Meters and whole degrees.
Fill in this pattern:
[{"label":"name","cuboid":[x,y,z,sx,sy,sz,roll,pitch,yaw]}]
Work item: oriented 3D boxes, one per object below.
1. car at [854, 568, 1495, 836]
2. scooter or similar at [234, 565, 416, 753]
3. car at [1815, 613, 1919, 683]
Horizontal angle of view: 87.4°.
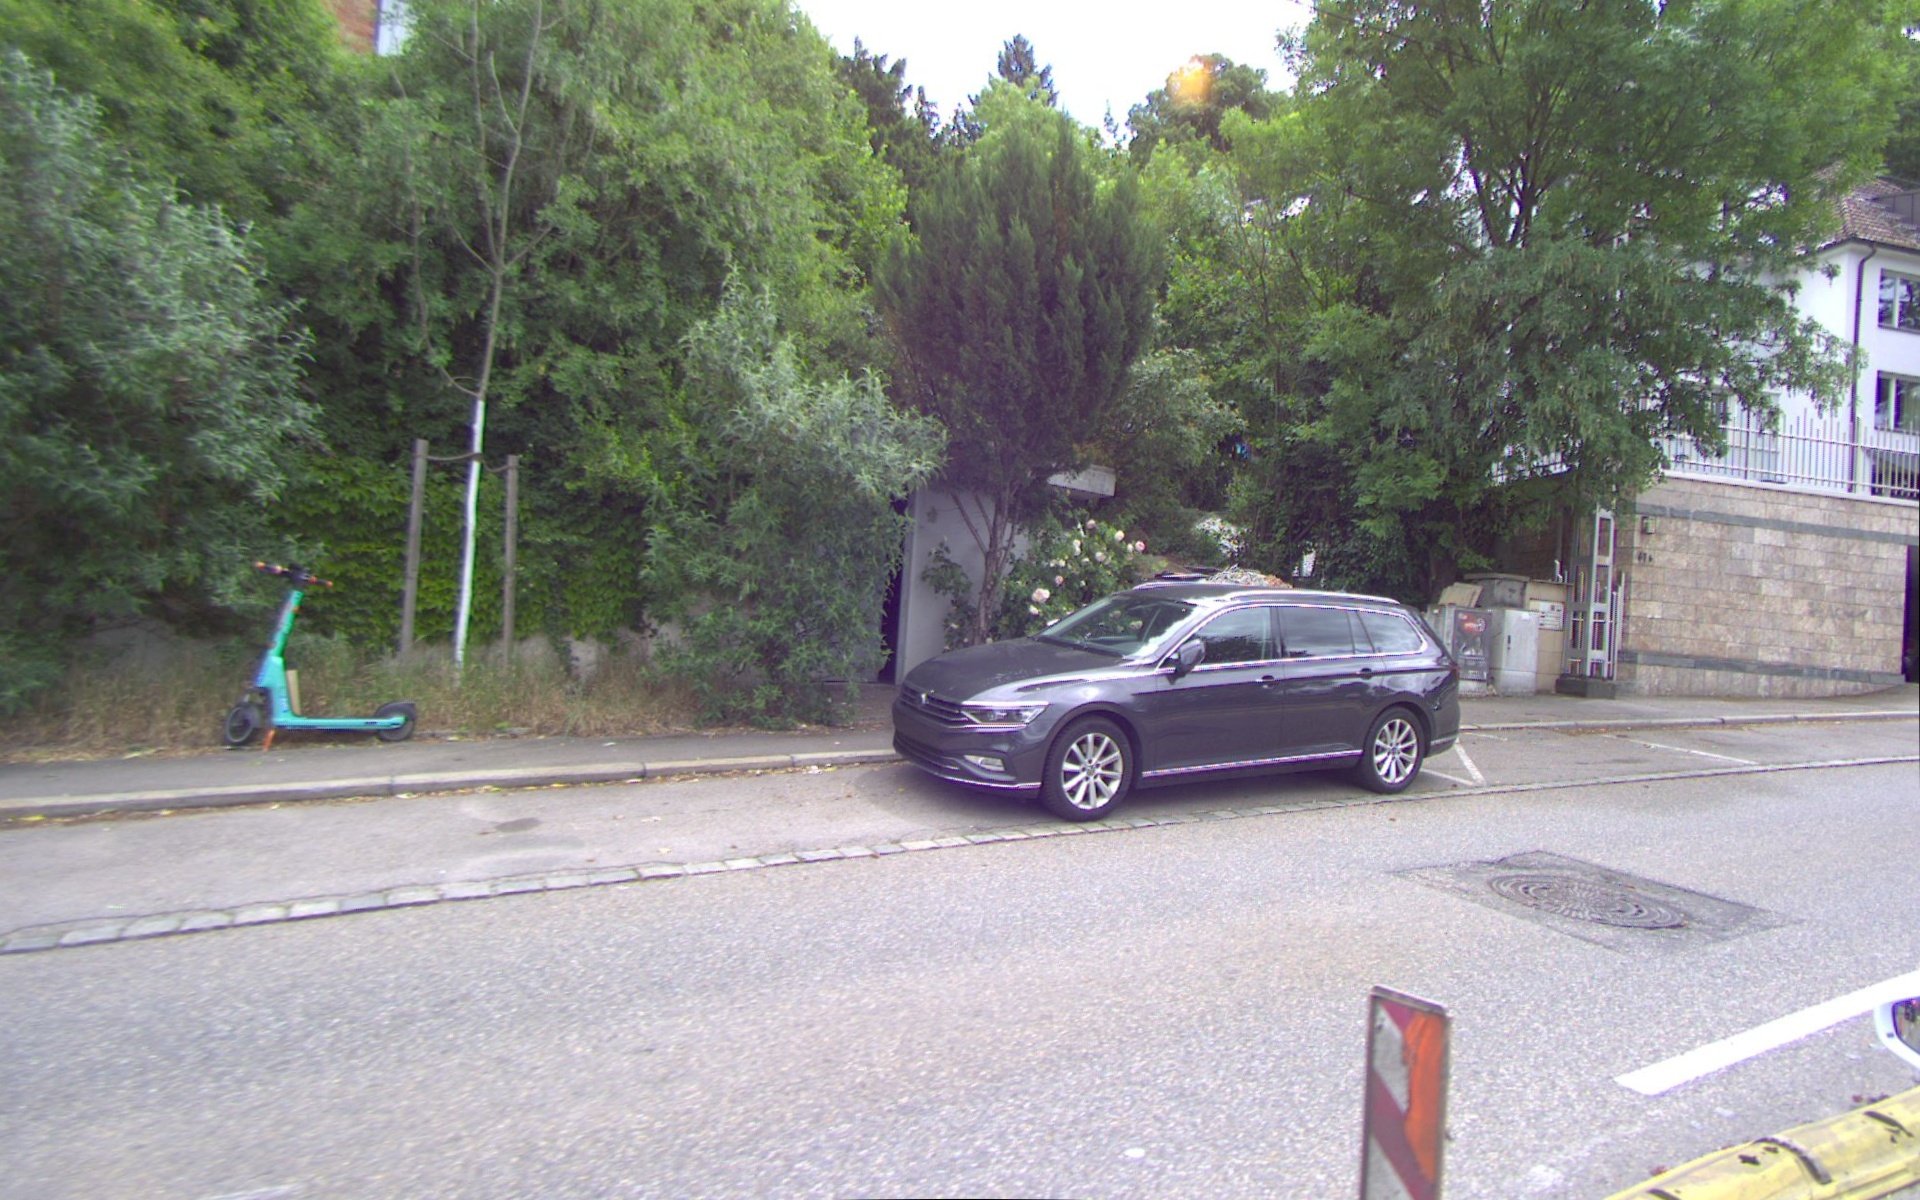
[{"label":"car","cuboid":[1.695,0.616,7.546,4.624,1.471,1.729,2,3,-28]},{"label":"scooter or similar","cuboid":[-4.425,0.395,7.031,1.035,1.229,0.346,1,3,-35]},{"label":"car","cuboid":[21.817,1.141,23.112,3.493,1.438,1.767,3,0,-21]}]
